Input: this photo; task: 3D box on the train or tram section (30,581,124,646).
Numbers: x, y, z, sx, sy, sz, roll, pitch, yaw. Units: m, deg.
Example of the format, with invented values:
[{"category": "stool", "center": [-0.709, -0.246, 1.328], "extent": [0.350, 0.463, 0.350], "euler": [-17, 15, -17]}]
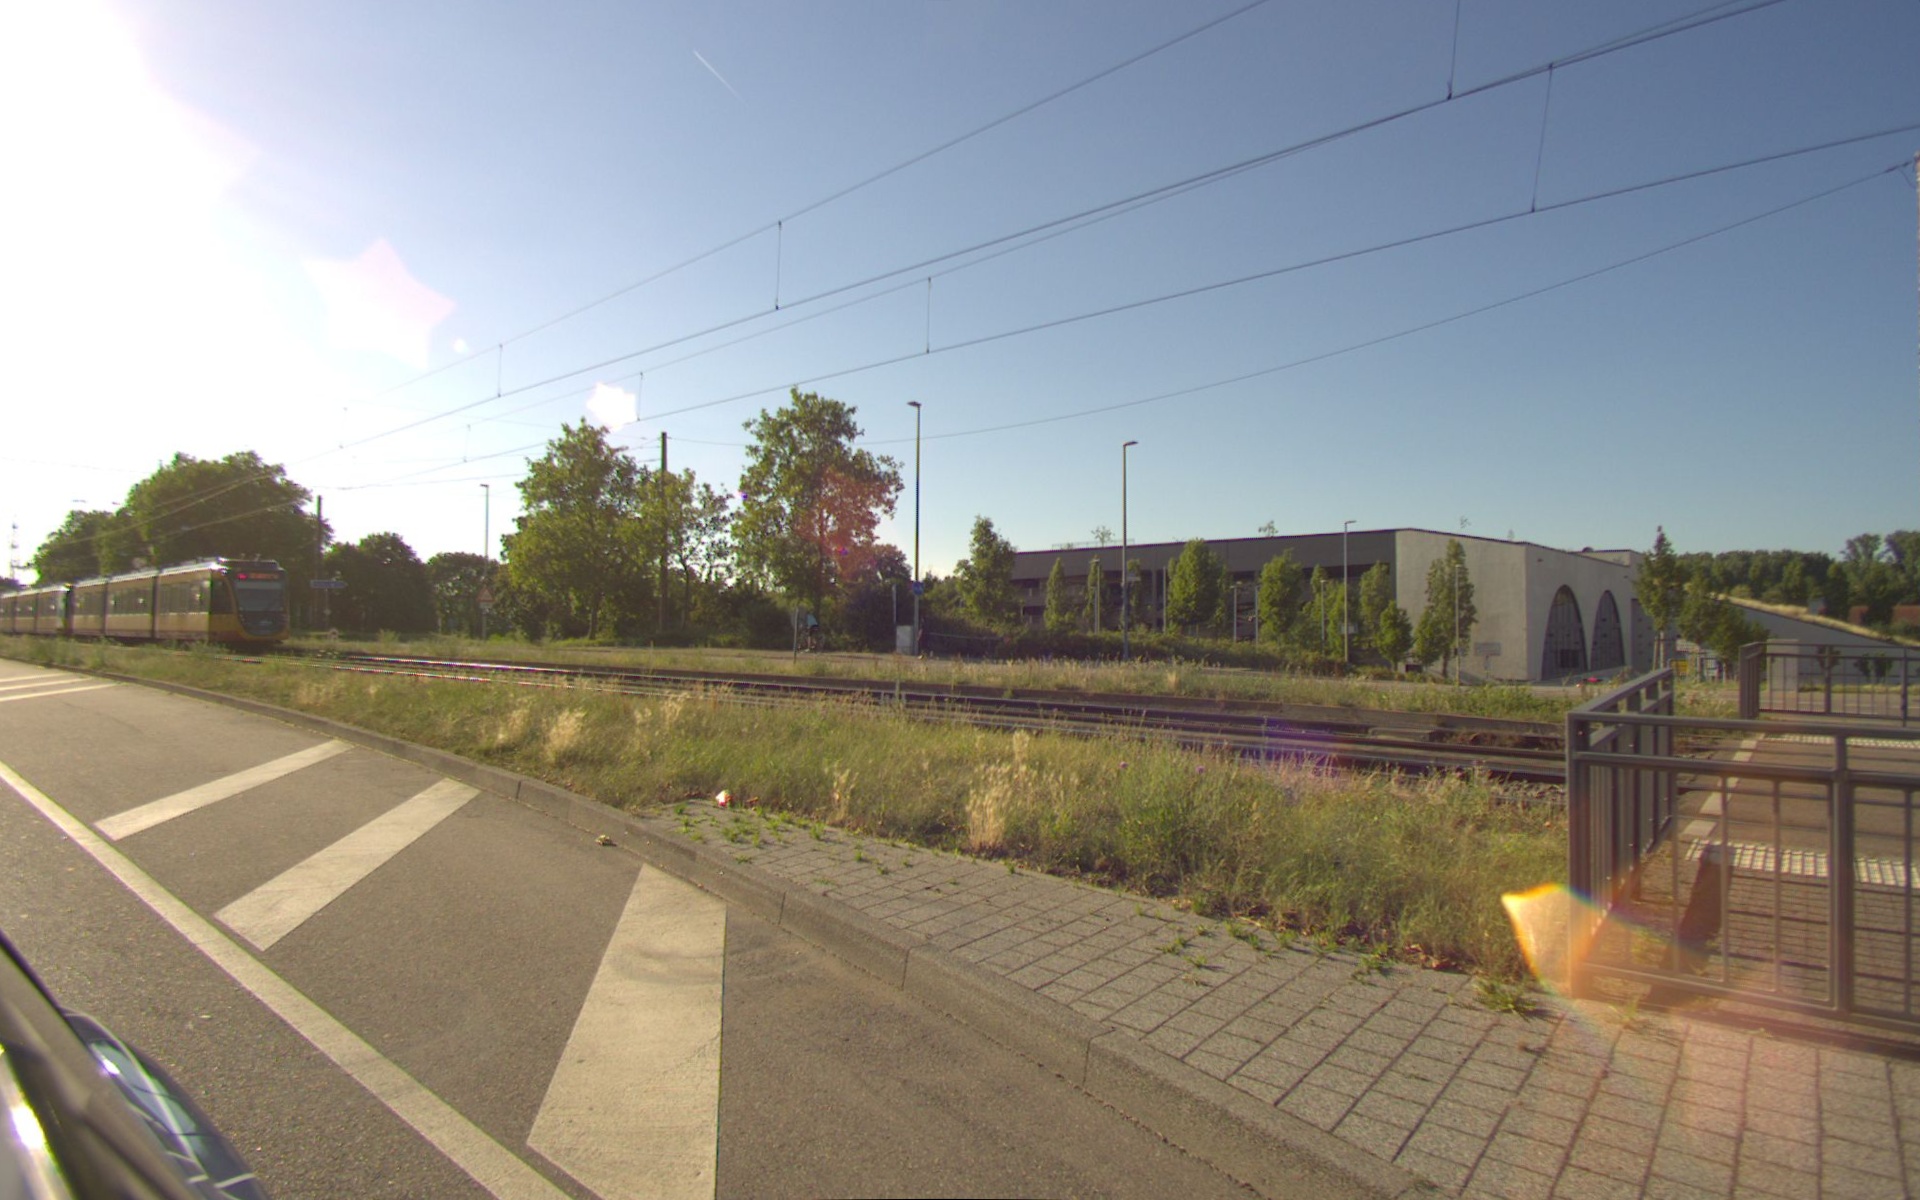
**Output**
[{"category": "train or tram section", "center": [-58.822, 0.942, 67.244], "extent": [13.652, 3.977, 2.854], "euler": [-1, -1, 41]}]

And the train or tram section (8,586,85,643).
[{"category": "train or tram section", "center": [-68.433, 1.156, 75.677], "extent": [11.906, 3.977, 2.854], "euler": [-1, -1, 41]}]

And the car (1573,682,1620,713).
[{"category": "car", "center": [38.504, 5.855, 61.206], "extent": [1.694, 1.564, 3.943], "euler": [-1, -2, 42]}]

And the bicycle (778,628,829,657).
[{"category": "bicycle", "center": [-6.480, 1.741, 41.742], "extent": [2.527, 1.136, 0.624], "euler": [-1, -2, 42]}]

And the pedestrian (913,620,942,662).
[{"category": "pedestrian", "center": [-1.276, 1.581, 39.241], "extent": [0.878, 1.621, 0.713], "euler": [-1, -2, 41]}]

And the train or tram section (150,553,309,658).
[{"category": "train or tram section", "center": [-31.507, 0.309, 43.332], "extent": [12.106, 3.977, 2.854], "euler": [-1, -1, 41]}]

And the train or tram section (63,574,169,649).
[{"category": "train or tram section", "center": [-49.139, 0.710, 58.770], "extent": [12.106, 3.977, 2.854], "euler": [-1, -1, 41]}]

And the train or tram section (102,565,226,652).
[{"category": "train or tram section", "center": [-40.321, 0.514, 51.053], "extent": [11.334, 3.977, 2.854], "euler": [-1, -1, 41]}]

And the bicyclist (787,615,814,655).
[{"category": "bicyclist", "center": [-6.599, 1.420, 41.835], "extent": [0.835, 1.629, 0.760], "euler": [-1, -2, 41]}]
